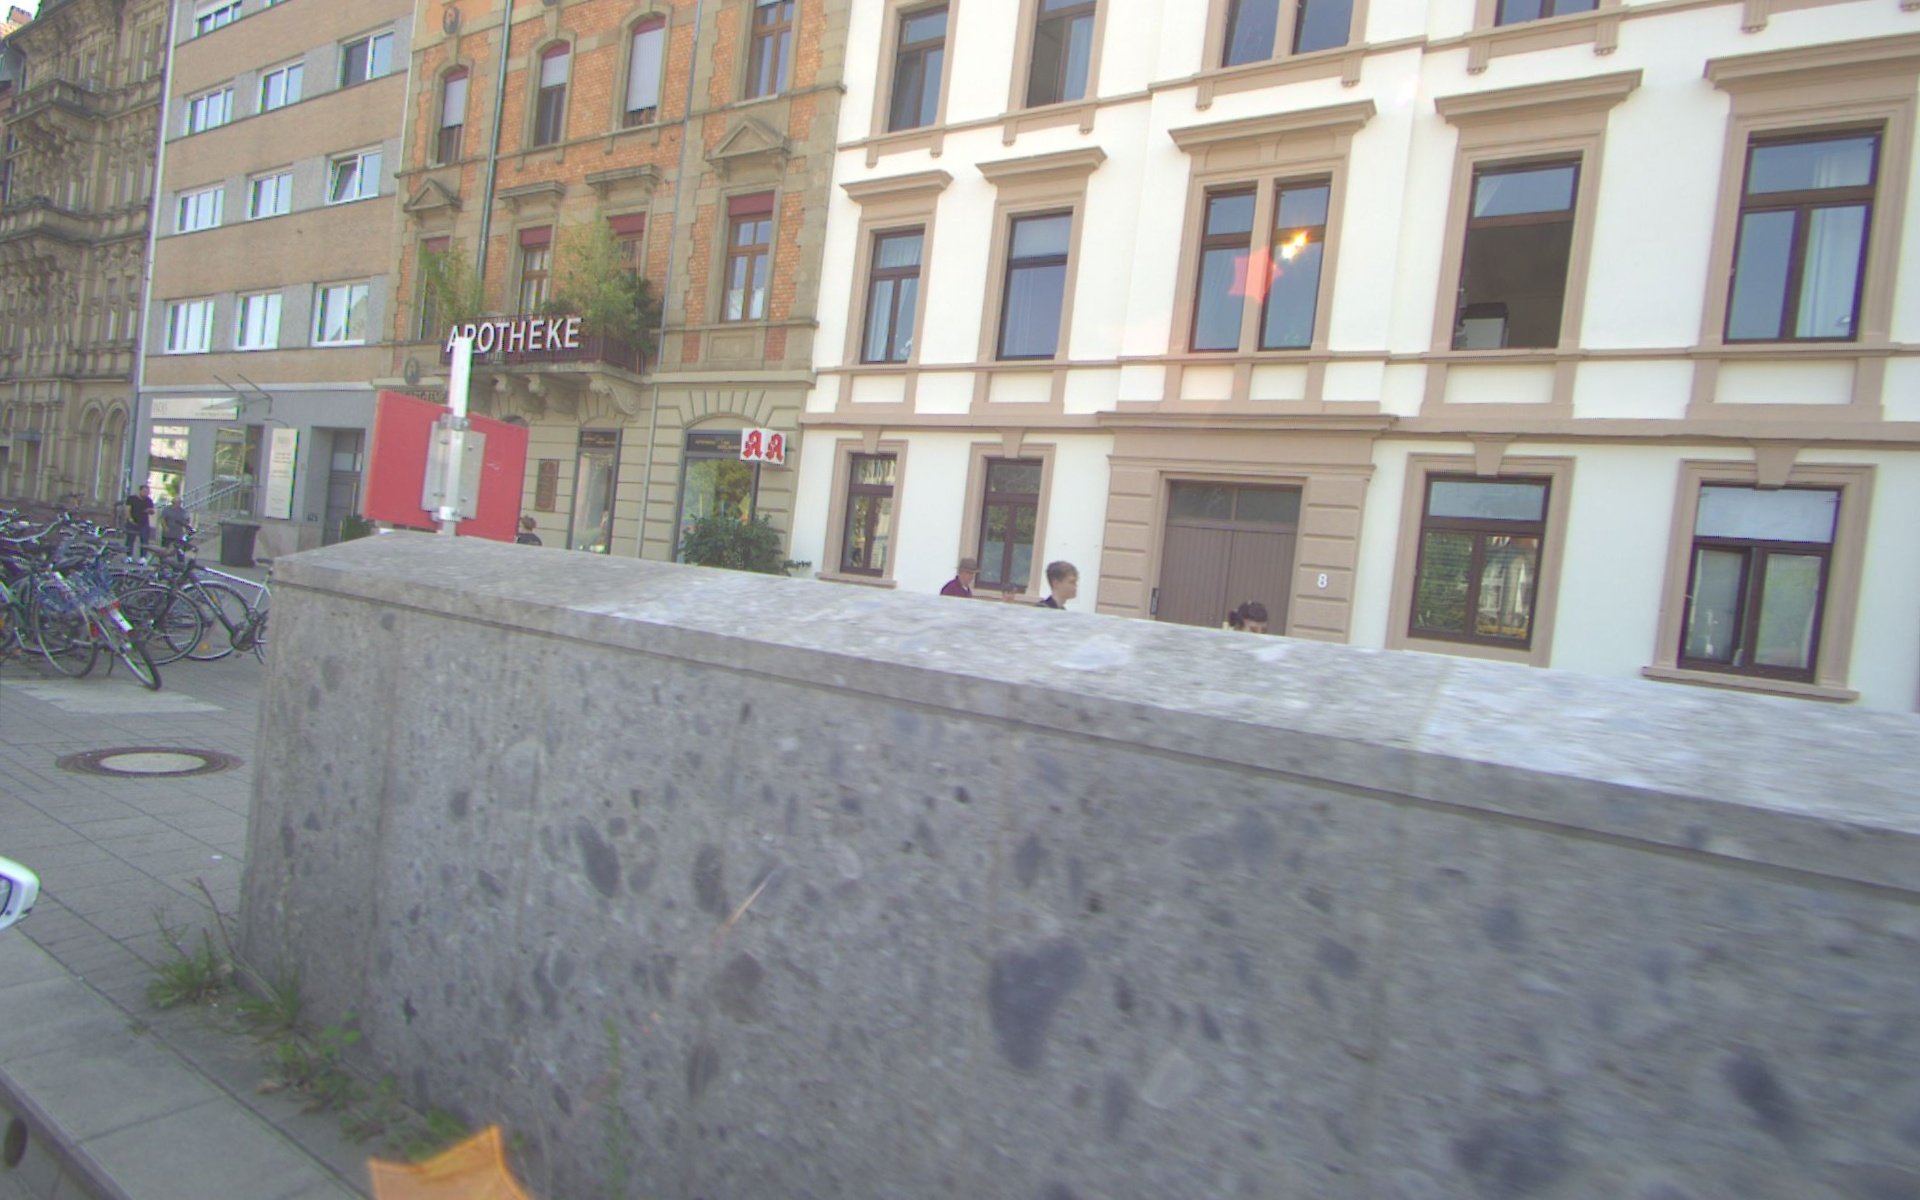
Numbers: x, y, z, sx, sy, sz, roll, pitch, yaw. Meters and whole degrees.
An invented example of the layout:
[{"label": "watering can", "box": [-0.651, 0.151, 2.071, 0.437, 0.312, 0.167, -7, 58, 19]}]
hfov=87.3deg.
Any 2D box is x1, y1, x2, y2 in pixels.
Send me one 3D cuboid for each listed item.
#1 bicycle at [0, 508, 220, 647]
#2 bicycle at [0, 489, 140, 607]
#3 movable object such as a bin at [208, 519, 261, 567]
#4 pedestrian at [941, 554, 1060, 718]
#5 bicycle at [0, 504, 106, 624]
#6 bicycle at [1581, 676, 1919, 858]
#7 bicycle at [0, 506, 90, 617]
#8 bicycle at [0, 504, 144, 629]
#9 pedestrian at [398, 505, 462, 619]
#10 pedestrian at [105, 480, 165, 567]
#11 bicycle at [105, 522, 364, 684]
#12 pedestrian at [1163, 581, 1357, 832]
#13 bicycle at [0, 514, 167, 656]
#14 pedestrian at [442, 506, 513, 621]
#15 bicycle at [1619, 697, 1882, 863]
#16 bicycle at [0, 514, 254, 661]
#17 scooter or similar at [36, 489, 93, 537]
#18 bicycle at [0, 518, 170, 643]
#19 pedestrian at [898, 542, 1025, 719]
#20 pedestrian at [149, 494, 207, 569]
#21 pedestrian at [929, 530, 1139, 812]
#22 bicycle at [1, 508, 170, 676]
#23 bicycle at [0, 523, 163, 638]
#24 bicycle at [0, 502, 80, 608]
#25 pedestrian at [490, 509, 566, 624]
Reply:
[{"label": "bicycle", "box": [-7.808, -0.180, 8.987, 0.359, 1.085, 1.838, 8, 0, 31]}, {"label": "bicycle", "box": [-10.809, -0.620, 11.783, 0.634, 1.230, 1.674, 7, 0, 36]}, {"label": "movable object such as a bin", "box": [-17.290, -1.349, 23.983, 0.752, 1.061, 0.646, 6, 1, -12]}, {"label": "pedestrian", "box": [0.486, 0.425, 12.046, 1.000, 1.797, 0.684, 8, 2, 31]}, {"label": "bicycle", "box": [-9.546, -0.398, 9.818, 0.633, 1.085, 1.660, 8, 0, 31]}, {"label": "bicycle", "box": [7.417, 1.507, 9.559, 2.430, 1.161, 0.480, 9, 3, 34]}, {"label": "bicycle", "box": [-10.115, -0.451, 10.293, 0.633, 1.085, 1.660, 7, 0, 31]}, {"label": "bicycle", "box": [-8.949, -0.331, 9.690, 0.464, 1.085, 1.539, 8, 0, 31]}, {"label": "pedestrian", "box": [-8.612, -0.606, 16.347, 0.668, 1.774, 0.577, 7, 4, 31]}, {"label": "pedestrian", "box": [-17.322, -1.607, 21.118, 0.776, 1.706, 0.644, 7, 1, 31]}, {"label": "bicycle", "box": [-6.099, 0.034, 8.555, 1.541, 1.133, 0.689, 8, 1, -17]}, {"label": "pedestrian", "box": [2.117, 0.725, 7.234, 0.953, 1.602, 0.852, 6, 1, -2]}, {"label": "bicycle", "box": [-7.650, -0.122, 8.370, 0.359, 1.085, 1.539, 8, 0, 31]}, {"label": "pedestrian", "box": [-8.052, -0.601, 16.787, 0.865, 1.820, 0.599, 7, 4, 31]}, {"label": "bicycle", "box": [7.452, 1.663, 9.600, 1.816, 1.199, 0.458, 7, 1, 32]}, {"label": "bicycle", "box": [-7.201, -0.073, 8.394, 0.375, 1.085, 2.126, 8, 0, 27]}, {"label": "scooter or similar", "box": [-26.216, -2.548, 29.453, 1.279, 1.211, 0.514, 7, 1, 12]}, {"label": "bicycle", "box": [-8.278, -0.172, 9.204, 0.359, 1.029, 1.539, 8, 0, 31]}, {"label": "pedestrian", "box": [0.016, 0.333, 11.192, 1.000, 1.797, 0.684, 8, 2, 31]}, {"label": "pedestrian", "box": [-16.843, -1.474, 21.672, 0.776, 1.512, 0.644, 7, 1, 31]}, {"label": "pedestrian", "box": [0.523, 0.470, 7.100, 0.956, 1.752, 0.849, 10, 4, 38]}, {"label": "bicycle", "box": [-6.539, -0.076, 7.502, 1.481, 1.085, 0.476, 7, 1, 32]}, {"label": "bicycle", "box": [-8.541, -0.178, 9.461, 0.359, 0.964, 1.539, 8, 0, 31]}, {"label": "bicycle", "box": [-10.680, -0.548, 10.738, 0.634, 1.085, 1.777, 7, 0, 36]}, {"label": "pedestrian", "box": [-7.420, -0.557, 17.282, 0.674, 1.871, 0.842, 7, 3, 22]}]
